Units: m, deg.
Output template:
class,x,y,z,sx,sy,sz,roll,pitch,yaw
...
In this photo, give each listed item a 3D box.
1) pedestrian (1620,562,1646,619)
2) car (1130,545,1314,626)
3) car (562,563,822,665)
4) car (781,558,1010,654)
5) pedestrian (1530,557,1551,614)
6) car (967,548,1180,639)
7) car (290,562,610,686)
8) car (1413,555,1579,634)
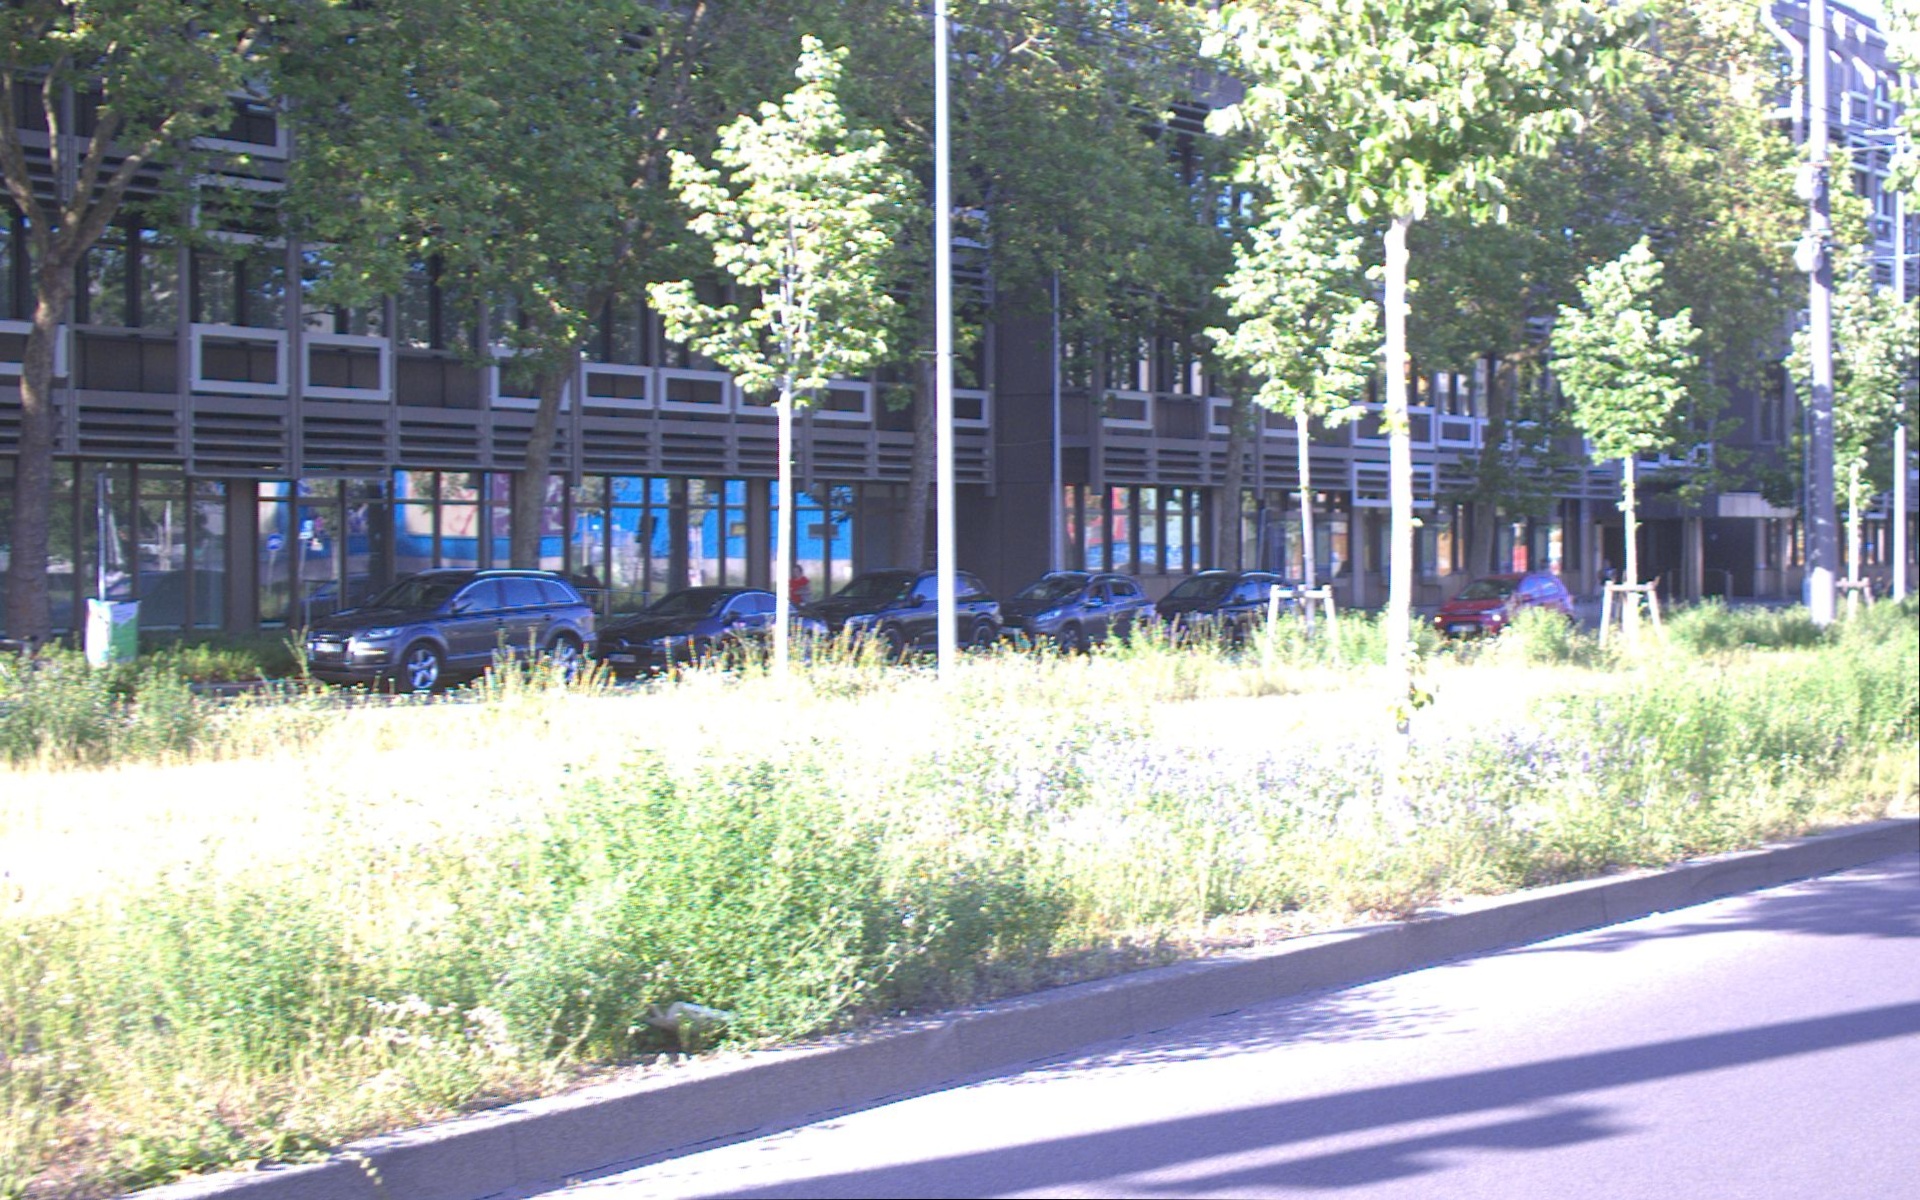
class,x,y,z,sx,sy,sz,roll,pitch,yaw
pedestrian,18.106,-0.256,92.491,0.664,1.527,0.649,0,1,10
car,5.332,-0.299,69.555,1.864,1.591,4.269,-1,0,34
car,-4.226,0.187,54.731,1.998,1.515,3.992,1,2,36
car,-1.069,0.068,59.658,1.747,1.552,4.615,2,2,32
pedestrian,15.845,-0.387,93.856,0.409,1.556,0.446,0,1,34
car,2.193,-0.140,65.153,1.914,1.627,4.353,-2,0,35
car,-7.366,0.302,50.144,1.997,1.674,4.860,2,1,30
car,10.715,-0.121,68.552,1.714,1.448,3.568,-3,-1,37
